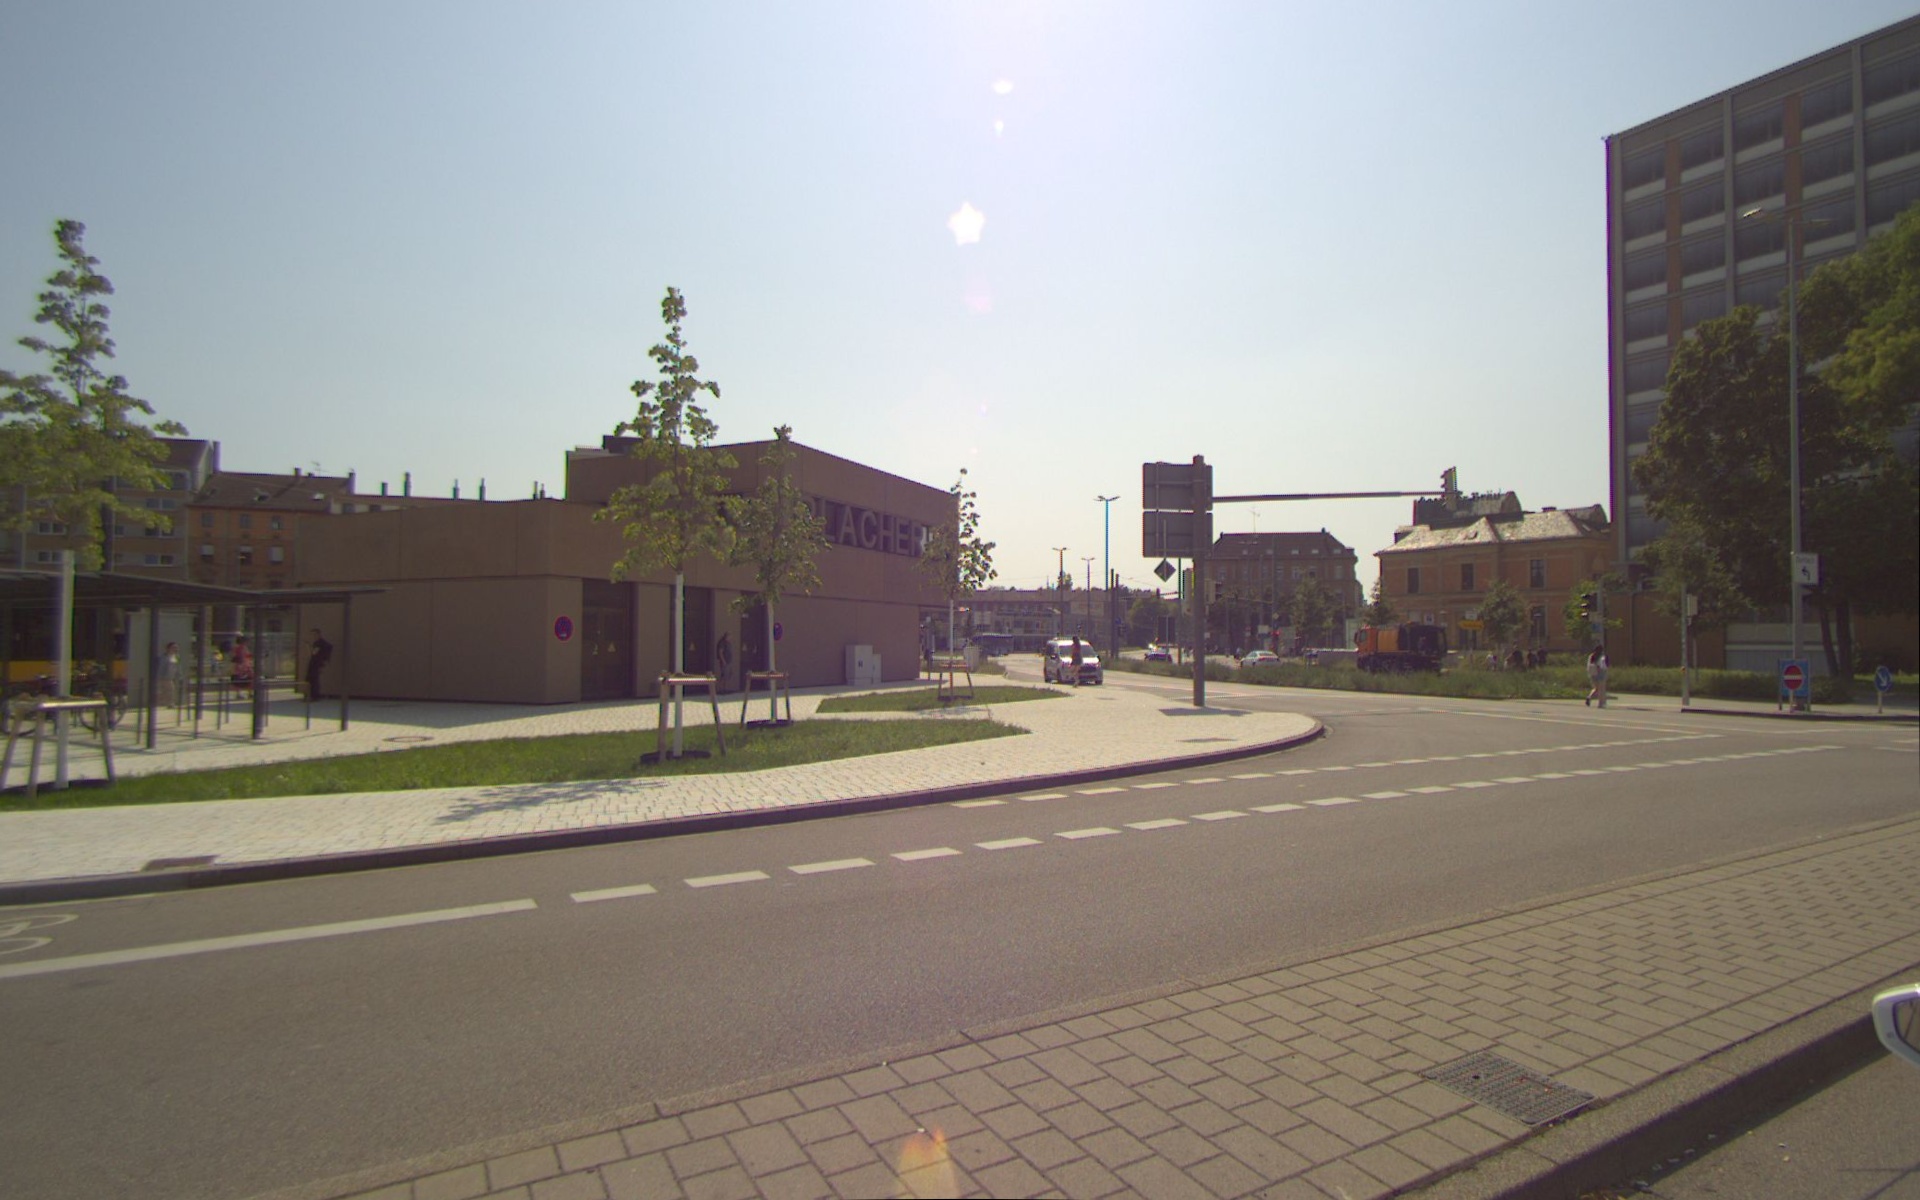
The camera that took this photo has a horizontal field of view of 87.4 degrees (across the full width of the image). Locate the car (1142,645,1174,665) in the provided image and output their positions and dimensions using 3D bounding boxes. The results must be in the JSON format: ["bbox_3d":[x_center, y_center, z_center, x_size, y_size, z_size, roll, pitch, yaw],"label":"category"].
[{"bbox_3d":[14.915,4.147,75.748,1.728,1.422,3.983,1,-2,2],"label":"car"}]

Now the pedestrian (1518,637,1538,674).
[{"bbox_3d":[31.184,3.031,55.149,0.764,1.999,0.754,0,-2,13],"label":"pedestrian"}]

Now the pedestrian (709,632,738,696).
[{"bbox_3d":[-6.367,1.715,27.051,0.558,1.700,0.536,-1,-2,24],"label":"pedestrian"}]

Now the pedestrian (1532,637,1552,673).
[{"bbox_3d":[32.311,3.061,55.757,0.764,1.999,0.754,0,-2,13],"label":"pedestrian"}]

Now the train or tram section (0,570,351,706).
[{"bbox_3d":[-23.884,1.145,31.183,3.086,3.617,8.239,-2,-2,24],"label":"train or tram section"}]

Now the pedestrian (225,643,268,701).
[{"bbox_3d":[-17.988,1.808,25.326,0.436,1.429,0.744,-1,-2,28],"label":"pedestrian"}]

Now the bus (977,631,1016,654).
[{"bbox_3d":[5.206,5.972,140.832,3.002,2.969,11.861,0,-2,15],"label":"bus"}]

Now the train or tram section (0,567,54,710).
[{"bbox_3d":[-27.283,0.972,23.700,3.102,3.645,8.240,-2,-2,25],"label":"train or tram section"}]

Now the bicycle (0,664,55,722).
[{"bbox_3d":[-17.904,1.731,18.578,0.503,1.054,1.736,-1,-2,12],"label":"bicycle"}]

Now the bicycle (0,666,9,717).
[{"bbox_3d":[-19.525,1.798,19.233,0.503,0.998,1.856,-1,-2,23],"label":"bicycle"}]

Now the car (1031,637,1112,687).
[{"bbox_3d":[4.543,2.529,41.666,1.965,1.884,4.324,-2,-2,-13],"label":"car"}]

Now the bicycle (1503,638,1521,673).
[{"bbox_3d":[30.319,3.060,55.202,0.447,1.884,1.364,0,-2,10],"label":"bicycle"}]

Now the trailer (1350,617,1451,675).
[{"bbox_3d":[24.822,2.579,56.931,2.424,3.047,6.321,2,-2,-5],"label":"trailer"}]

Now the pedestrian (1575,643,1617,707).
[{"bbox_3d":[17.120,2.005,27.042,0.688,1.717,0.606,0,-2,-13],"label":"pedestrian"}]

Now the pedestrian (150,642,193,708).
[{"bbox_3d":[-17.377,1.648,22.155,0.660,1.429,0.440,1,-2,-31],"label":"pedestrian"}]

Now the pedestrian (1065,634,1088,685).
[{"bbox_3d":[3.975,2.028,34.420,0.616,1.725,0.786,0,-2,-6],"label":"pedestrian"}]

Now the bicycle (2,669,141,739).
[{"bbox_3d":[-14.967,1.723,16.975,0.503,1.054,1.735,-1,-2,18],"label":"bicycle"}]

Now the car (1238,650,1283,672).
[{"bbox_3d":[21.108,4.264,70.667,1.729,1.474,4.426,1,-2,-1],"label":"car"}]

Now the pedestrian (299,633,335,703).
[{"bbox_3d":[-15.778,1.666,24.664,0.435,1.700,0.568,-1,-2,25],"label":"pedestrian"}]
